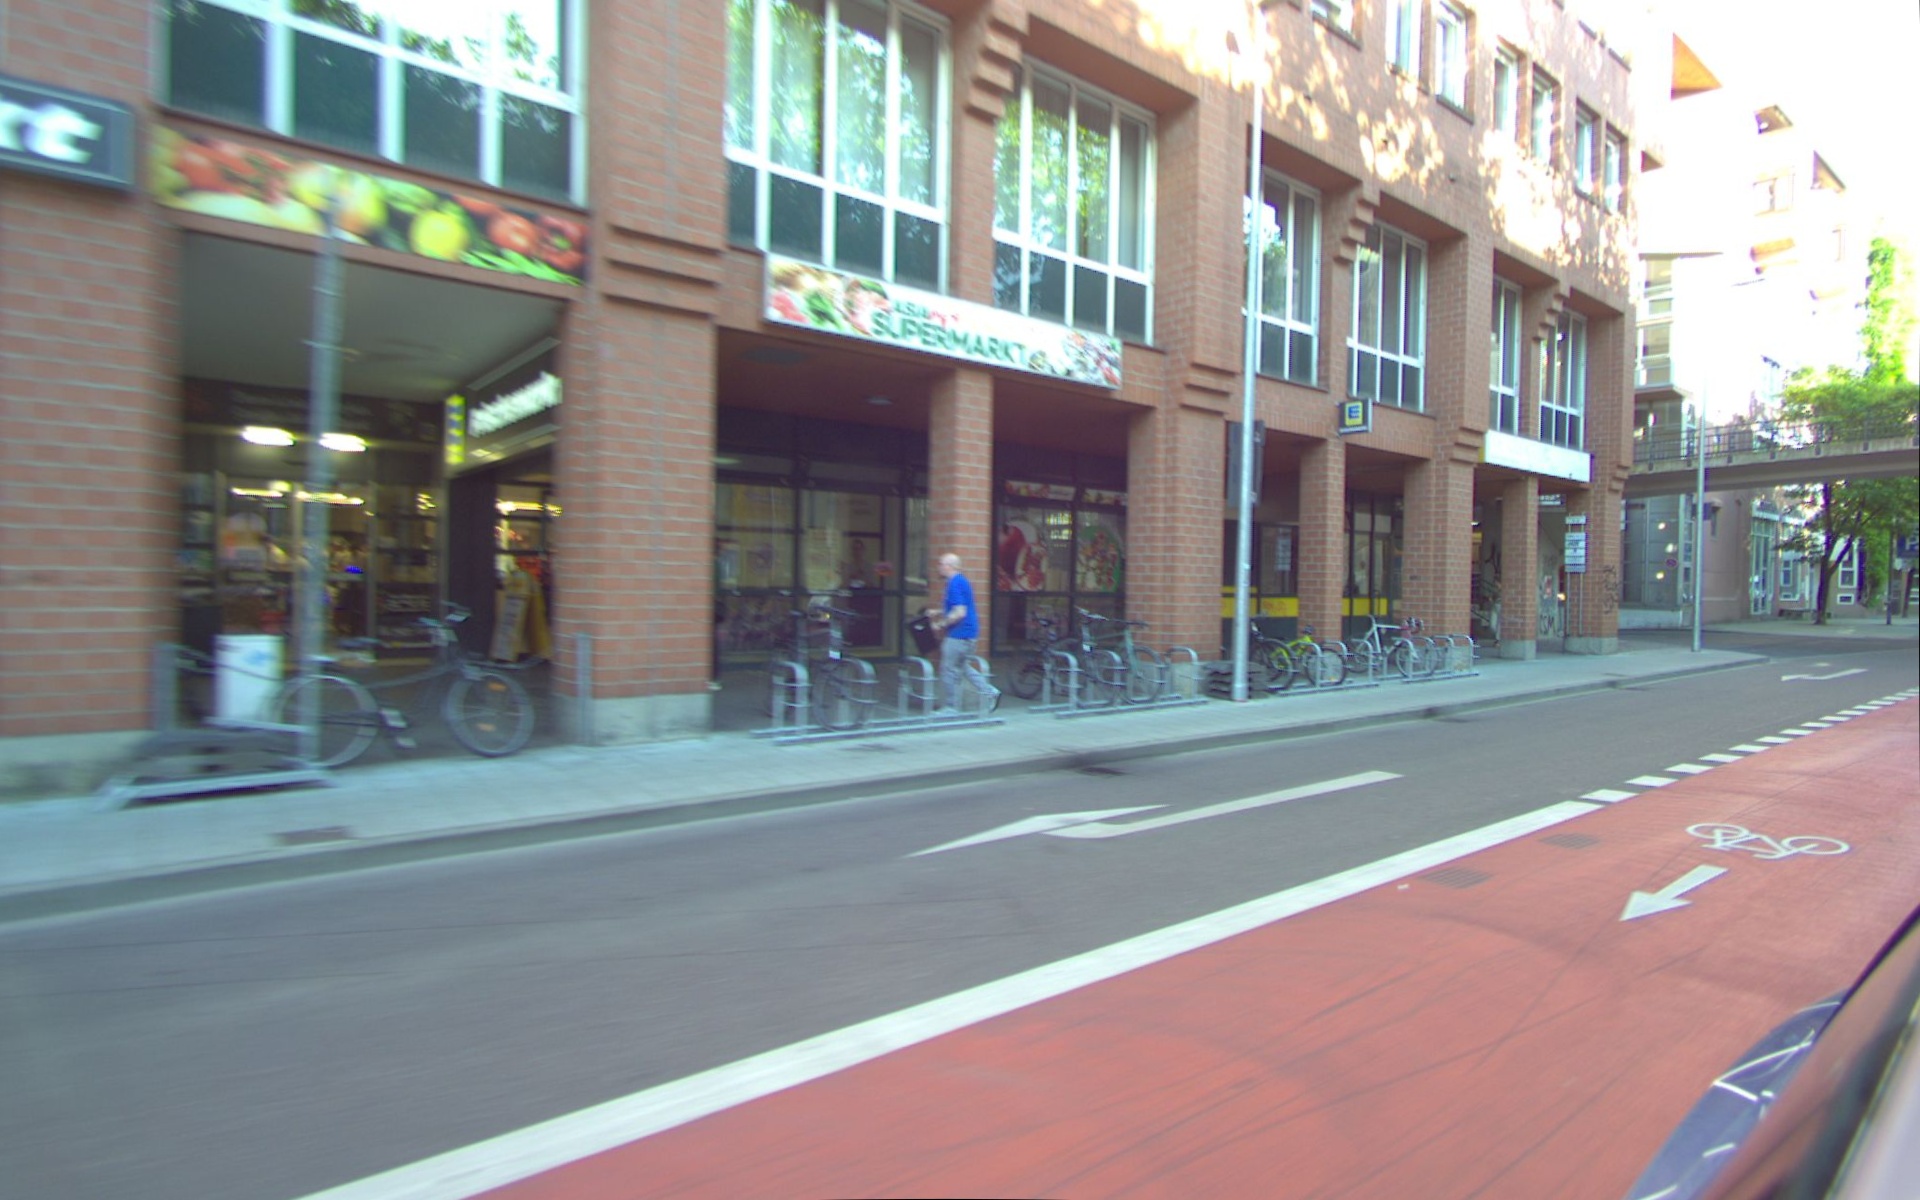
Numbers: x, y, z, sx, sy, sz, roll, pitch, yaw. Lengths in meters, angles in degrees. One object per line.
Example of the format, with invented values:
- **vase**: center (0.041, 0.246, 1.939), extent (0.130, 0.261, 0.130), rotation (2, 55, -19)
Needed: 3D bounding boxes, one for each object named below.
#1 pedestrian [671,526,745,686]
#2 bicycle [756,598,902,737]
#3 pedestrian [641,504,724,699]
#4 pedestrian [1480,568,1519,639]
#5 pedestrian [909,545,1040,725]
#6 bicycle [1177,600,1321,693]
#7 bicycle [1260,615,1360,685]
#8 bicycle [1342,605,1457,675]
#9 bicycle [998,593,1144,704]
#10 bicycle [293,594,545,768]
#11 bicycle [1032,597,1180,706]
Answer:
- **pedestrian**: center (-2.971, 0.053, 11.931), extent (0.599, 1.818, 0.659), rotation (0, 1, -43)
- **bicycle**: center (-1.286, 0.579, 9.614), extent (0.466, 1.133, 1.896), rotation (0, 2, -38)
- **pedestrian**: center (-3.020, 0.002, 11.017), extent (0.650, 2.039, 0.608), rotation (0, 1, -44)
- **pedestrian**: center (12.827, 0.083, 24.073), extent (0.764, 1.653, 0.570), rotation (0, 0, -40)
- **pedestrian**: center (0.120, 0.311, 10.414), extent (0.867, 1.717, 1.201), rotation (1, 3, -25)
- **bicycle**: center (3.895, 0.591, 13.821), extent (0.562, 1.069, 1.940), rotation (0, 3, -35)
- **bicycle**: center (5.047, 0.702, 14.654), extent (0.417, 0.851, 1.338), rotation (0, 4, -36)
- **bicycle**: center (7.088, 0.624, 16.404), extent (0.544, 0.966, 1.617), rotation (0, 4, -36)
- **bicycle**: center (1.246, 0.518, 11.766), extent (0.466, 1.133, 1.896), rotation (0, 2, -38)
- **bicycle**: center (-4.040, 0.560, 7.640), extent (1.647, 1.198, 0.340), rotation (0, 1, -38)
- **bicycle**: center (1.704, 0.565, 12.095), extent (0.540, 1.133, 1.896), rotation (0, 2, -38)
